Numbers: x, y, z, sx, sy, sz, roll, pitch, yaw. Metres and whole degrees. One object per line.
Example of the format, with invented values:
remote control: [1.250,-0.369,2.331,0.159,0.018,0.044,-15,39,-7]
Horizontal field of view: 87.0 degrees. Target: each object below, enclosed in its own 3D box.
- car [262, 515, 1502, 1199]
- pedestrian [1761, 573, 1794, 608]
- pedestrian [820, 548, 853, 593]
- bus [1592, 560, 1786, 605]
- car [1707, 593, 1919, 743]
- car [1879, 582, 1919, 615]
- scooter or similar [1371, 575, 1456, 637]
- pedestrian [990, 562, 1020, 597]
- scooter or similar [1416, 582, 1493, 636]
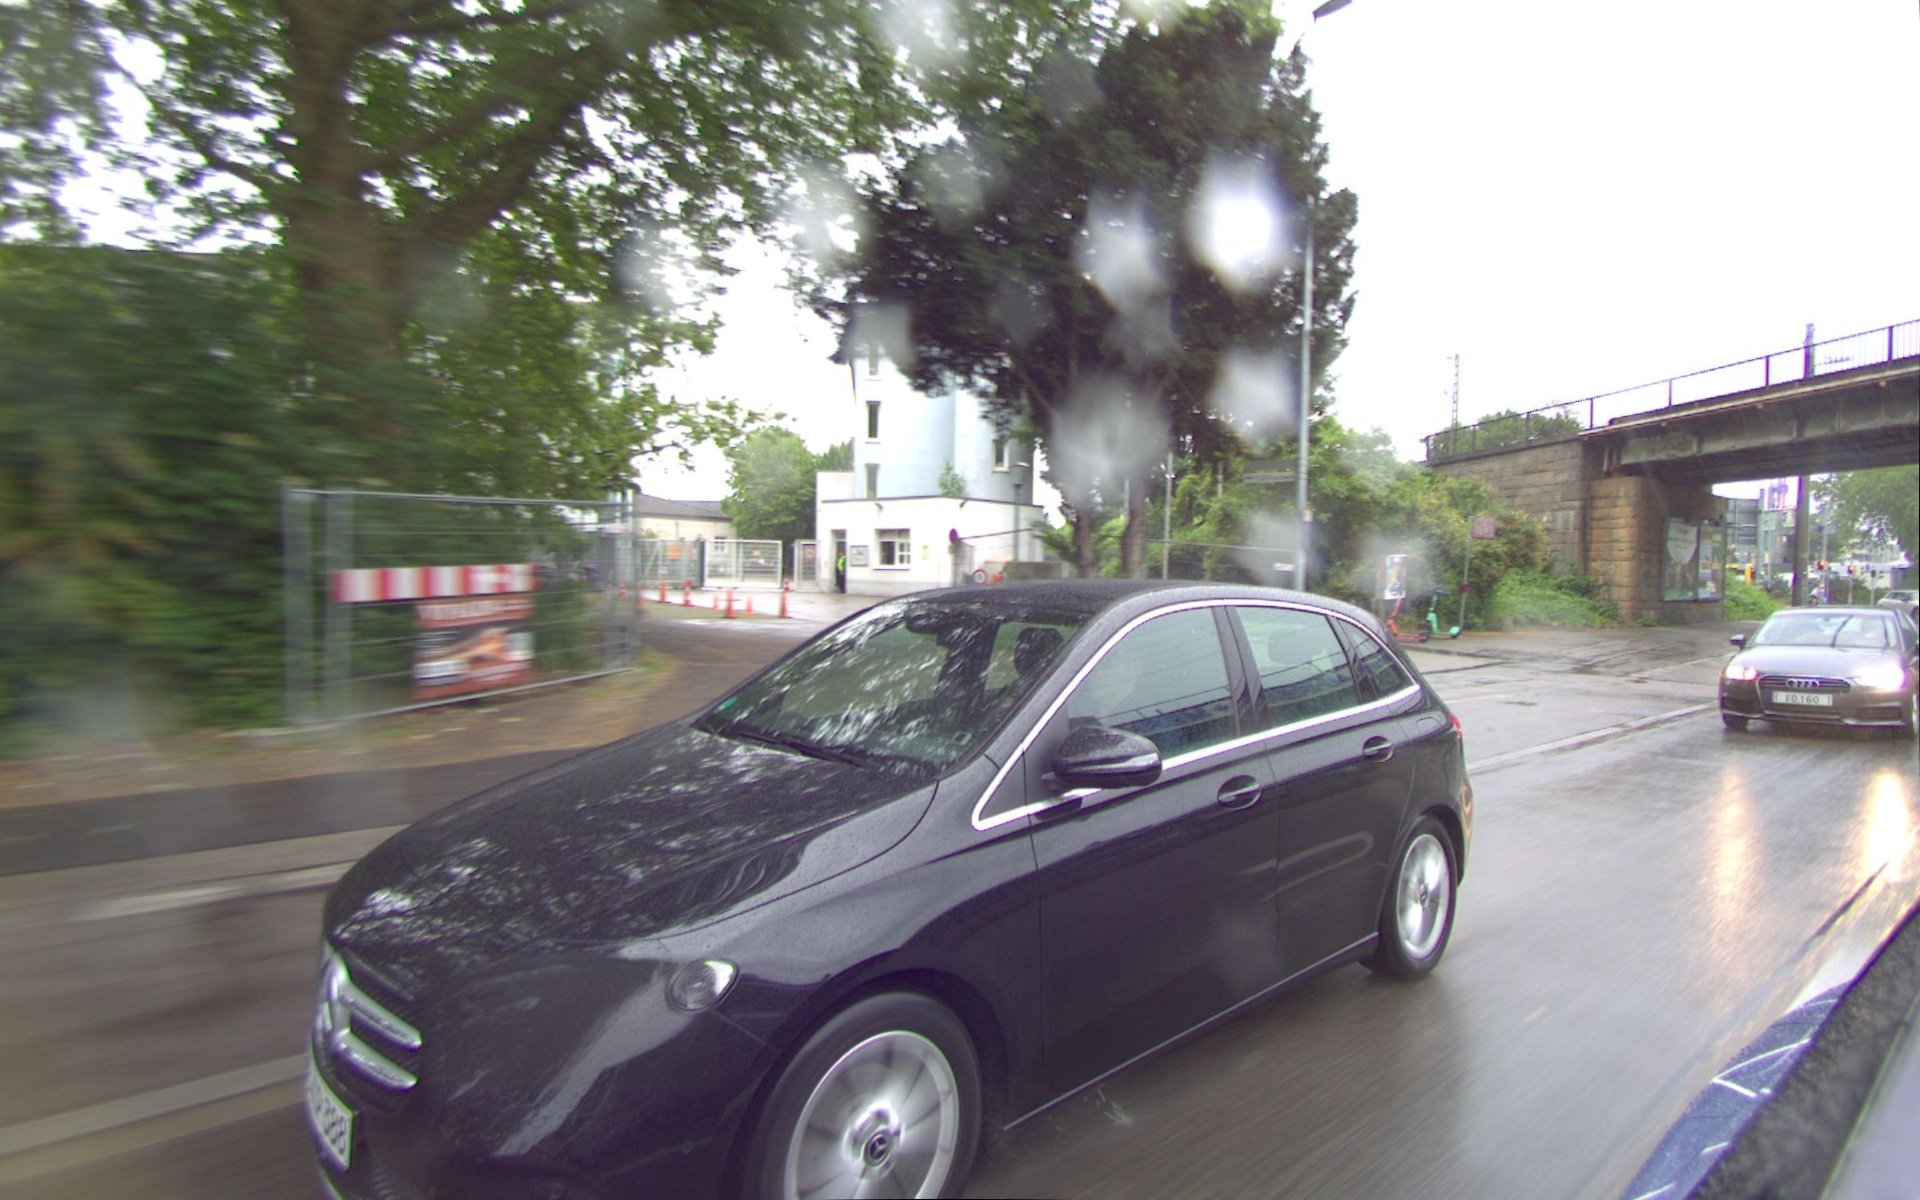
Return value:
car: [0.134,0.590,3.521,4.018,1.542,1.873,-1,2,-43]
pedestrian: [41.015,-0.478,50.775,0.984,1.740,0.822,1,1,-13]
pedestrian: [-4.855,-1.167,39.847,0.927,1.757,0.912,3,2,43]
bus: [58.236,-1.524,81.430,3.211,3.308,12.297,0,2,-33]
car: [10.400,0.664,11.834,3.686,1.415,1.840,-1,1,-39]
car: [43.470,-0.041,45.099,1.869,1.365,3.988,1,2,11]
scooter or similar: [10.348,0.132,23.135,1.528,1.325,0.711,1,6,0]
pedestrian: [1.700,-0.774,37.886,0.856,1.311,0.696,3,2,40]
scooter or similar: [11.761,0.211,24.061,1.515,1.193,0.775,1,4,-23]
